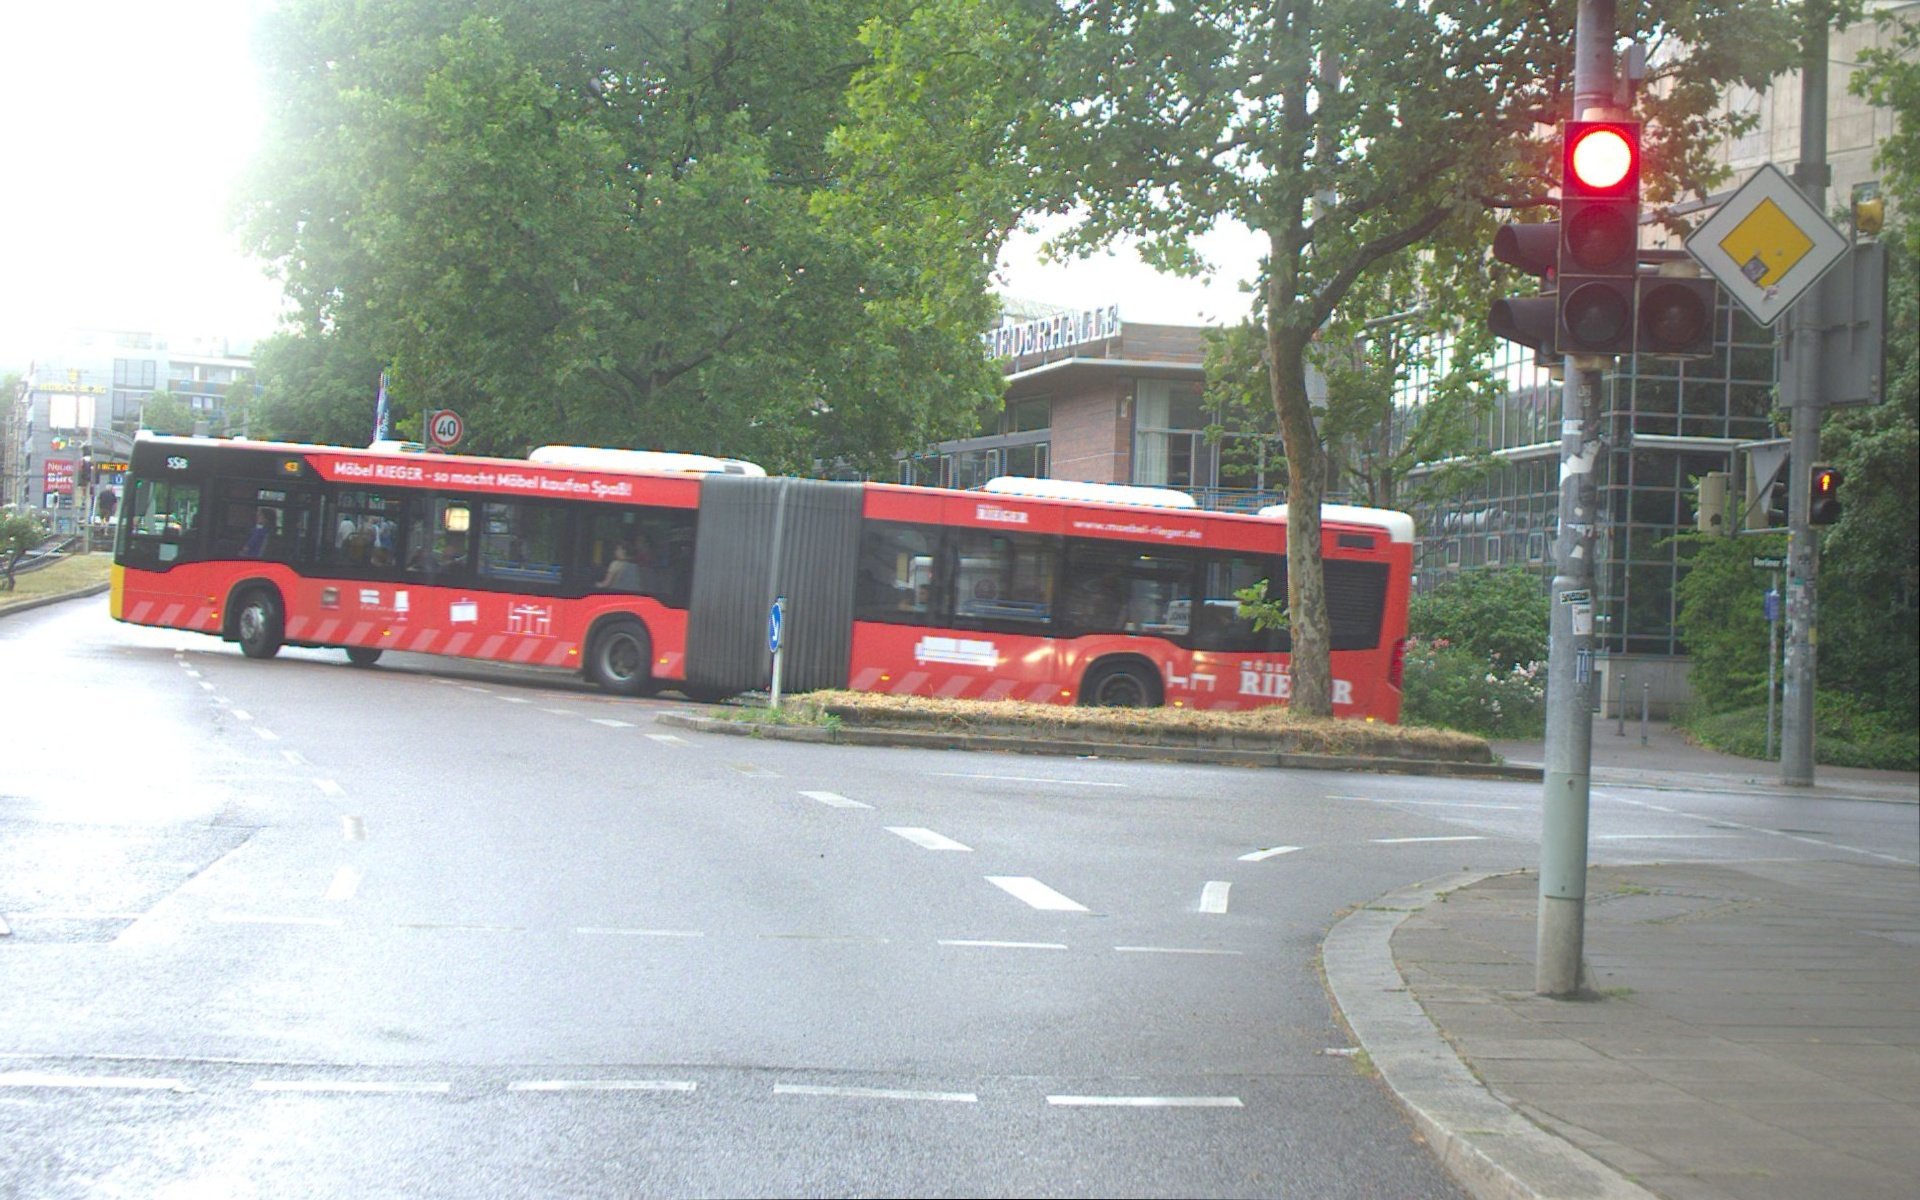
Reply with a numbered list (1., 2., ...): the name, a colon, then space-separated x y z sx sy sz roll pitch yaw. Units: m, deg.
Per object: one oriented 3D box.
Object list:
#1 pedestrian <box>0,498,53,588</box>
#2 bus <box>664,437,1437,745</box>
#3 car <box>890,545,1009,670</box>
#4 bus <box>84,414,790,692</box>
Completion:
1. pedestrian: -17.547 -1.070 64.635 0.737 1.634 0.871 4 0 -7
2. bus: 1.121 -0.108 42.890 9.155 3.100 2.663 4 0 2
3. car: -0.325 0.190 93.099 2.544 3.123 5.032 4 0 -6
4. bus: -7.084 -0.671 45.850 9.439 3.100 2.554 4 0 28
